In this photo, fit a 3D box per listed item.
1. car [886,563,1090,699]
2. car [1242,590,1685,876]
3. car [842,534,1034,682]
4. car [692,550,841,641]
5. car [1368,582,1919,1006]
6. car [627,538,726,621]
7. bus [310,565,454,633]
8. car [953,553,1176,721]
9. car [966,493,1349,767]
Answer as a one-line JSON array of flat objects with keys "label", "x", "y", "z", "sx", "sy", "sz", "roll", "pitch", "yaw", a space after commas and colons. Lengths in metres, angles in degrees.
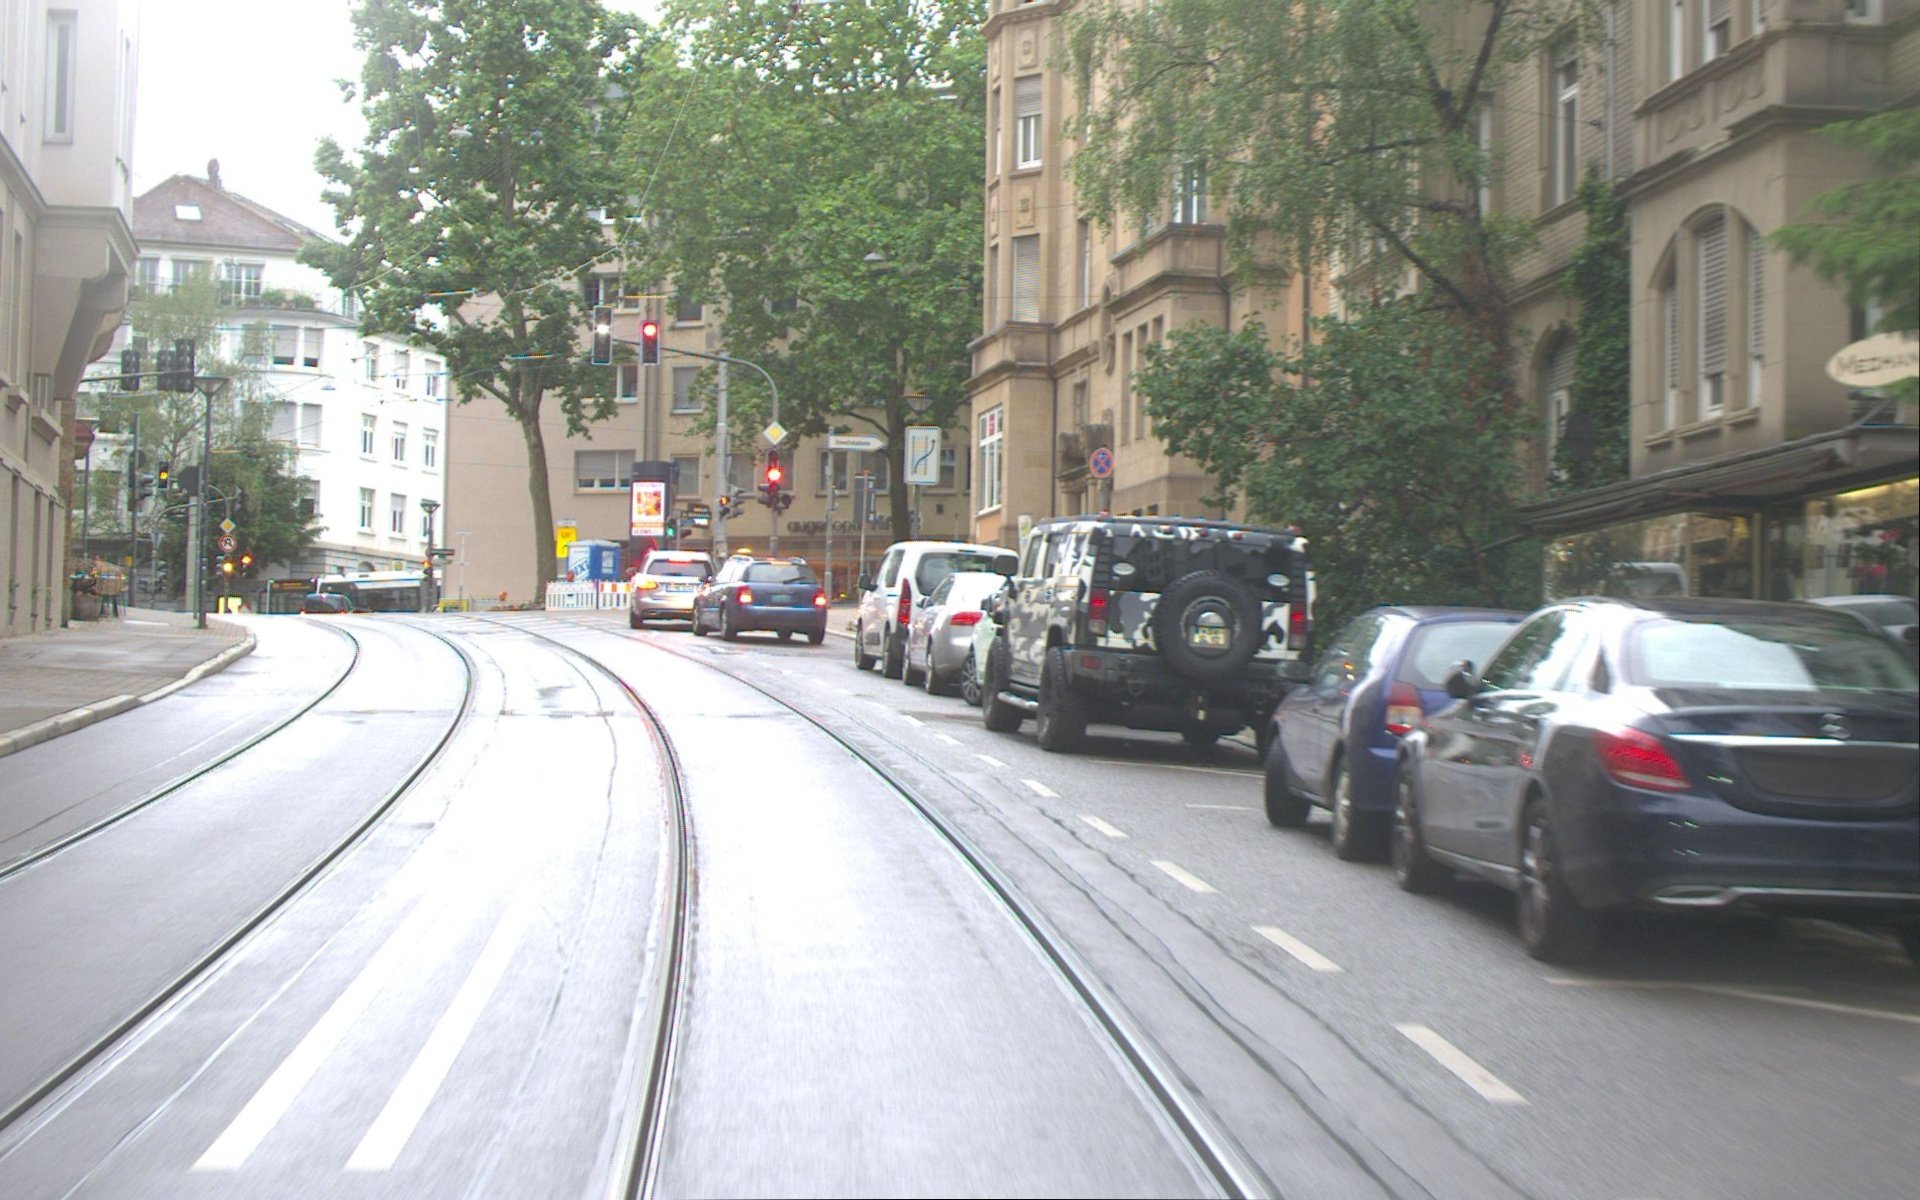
[{"label": "car", "x": 0.262, "y": 0.321, "z": 40.364, "sx": 1.748, "sy": 1.396, "sz": 4.479, "roll": 3, "pitch": 1, "yaw": -7}, {"label": "car", "x": 2.698, "y": 0.668, "z": 19.260, "sx": 1.678, "sy": 1.333, "sz": 3.883, "roll": 2, "pitch": 1, "yaw": -3}, {"label": "car", "x": -0.350, "y": 0.059, "z": 45.325, "sx": 1.797, "sy": 1.759, "sz": 4.464, "roll": 3, "pitch": 0, "yaw": -9}, {"label": "car", "x": -3.383, "y": -0.105, "z": 59.377, "sx": 1.710, "sy": 1.410, "sz": 4.038, "roll": 2, "pitch": 1, "yaw": -15}, {"label": "car", "x": 3.060, "y": 0.700, "z": 14.674, "sx": 1.794, "sy": 1.432, "sz": 4.611, "roll": 2, "pitch": 1, "yaw": -3}, {"label": "car", "x": -5.405, "y": -0.413, "z": 65.200, "sx": 1.710, "sy": 1.451, "sz": 3.553, "roll": 2, "pitch": 1, "yaw": -7}, {"label": "bus", "x": -25.311, "y": -0.088, "z": 151.121, "sx": 2.856, "sy": 2.851, "sz": 8.727, "roll": 1, "pitch": 1, "yaw": 15}, {"label": "car", "x": 1.014, "y": 0.340, "z": 35.243, "sx": 1.559, "sy": 1.541, "sz": 3.585, "roll": 3, "pitch": 0, "yaw": -9}, {"label": "car", "x": 1.541, "y": 0.195, "z": 29.265, "sx": 2.128, "sy": 2.007, "sz": 5.352, "roll": 3, "pitch": 0, "yaw": -8}]
